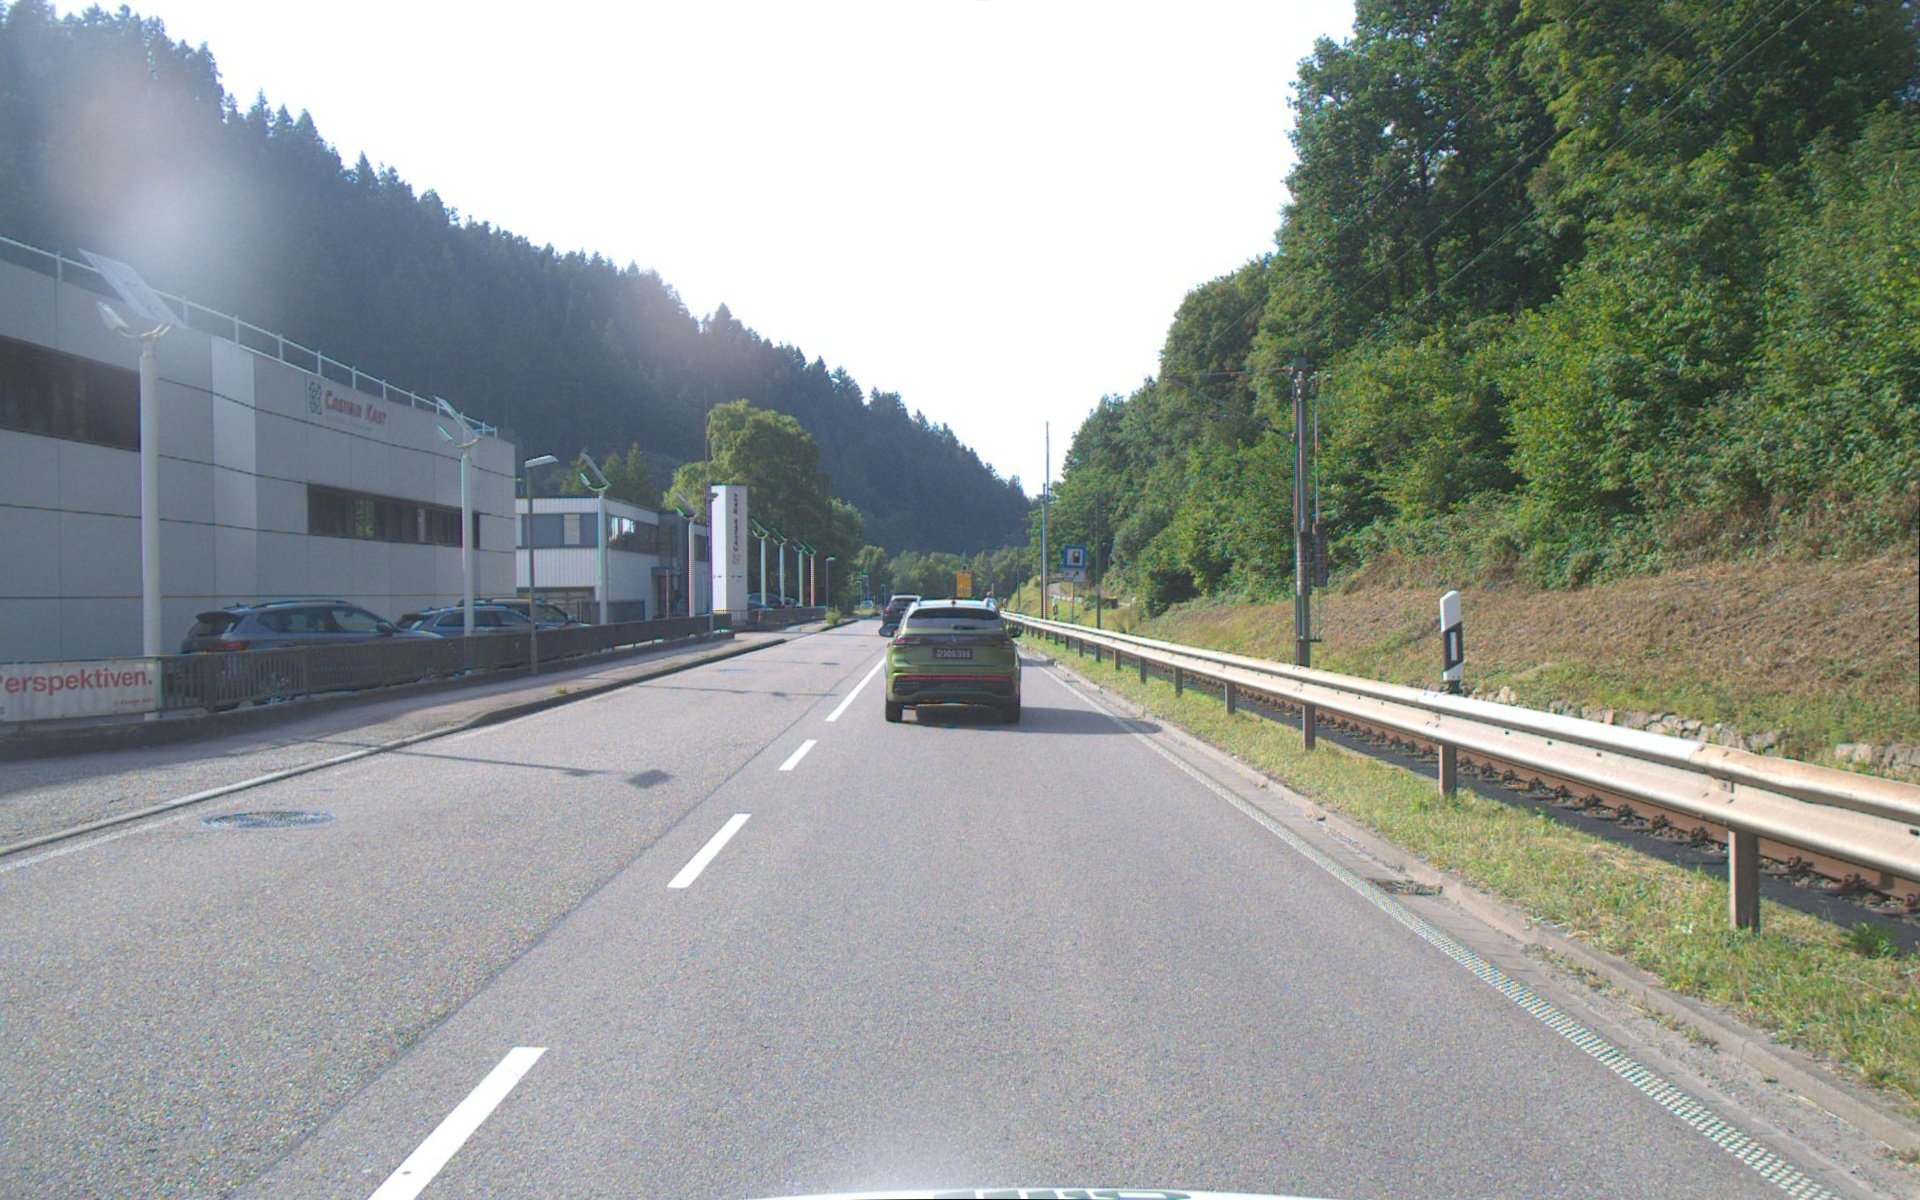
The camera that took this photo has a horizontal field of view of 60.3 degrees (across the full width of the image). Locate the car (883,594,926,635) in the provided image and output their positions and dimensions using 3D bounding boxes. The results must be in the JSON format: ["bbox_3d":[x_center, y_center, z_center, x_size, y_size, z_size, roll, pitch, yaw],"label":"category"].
[{"bbox_3d":[-2.293,0.587,68.440,1.704,1.630,3.999,0,0,-2],"label":"car"}]

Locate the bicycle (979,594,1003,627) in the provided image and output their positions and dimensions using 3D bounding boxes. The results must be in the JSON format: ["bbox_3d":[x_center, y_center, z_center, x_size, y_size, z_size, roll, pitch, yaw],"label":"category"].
[{"bbox_3d":[1.210,0.390,64.397,0.795,1.272,2.121,0,0,-3],"label":"bicycle"}]

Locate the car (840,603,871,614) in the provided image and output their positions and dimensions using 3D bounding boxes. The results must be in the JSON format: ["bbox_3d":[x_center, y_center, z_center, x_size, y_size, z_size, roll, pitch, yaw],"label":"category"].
[{"bbox_3d":[-14.128,1.111,223.661,4.172,1.458,1.557,0,0,0],"label":"car"}]

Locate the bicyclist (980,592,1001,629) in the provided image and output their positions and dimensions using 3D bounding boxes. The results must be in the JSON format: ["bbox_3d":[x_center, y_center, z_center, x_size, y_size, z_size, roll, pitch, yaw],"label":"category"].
[{"bbox_3d":[1.193,0.421,64.679,0.766,1.436,0.674,0,0,-3],"label":"bicyclist"}]

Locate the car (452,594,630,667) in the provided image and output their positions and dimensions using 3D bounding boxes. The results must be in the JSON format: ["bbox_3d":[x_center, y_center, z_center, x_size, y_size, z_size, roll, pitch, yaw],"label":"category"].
[{"bbox_3d":[-10.417,0.725,41.309,1.749,1.738,4.088,0,0,40],"label":"car"}]

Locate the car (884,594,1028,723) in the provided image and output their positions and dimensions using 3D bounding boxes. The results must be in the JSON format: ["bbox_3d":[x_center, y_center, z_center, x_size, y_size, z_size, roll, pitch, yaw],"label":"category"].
[{"bbox_3d":[-0.105,0.695,21.676,1.704,1.534,3.999,0,0,-2],"label":"car"}]

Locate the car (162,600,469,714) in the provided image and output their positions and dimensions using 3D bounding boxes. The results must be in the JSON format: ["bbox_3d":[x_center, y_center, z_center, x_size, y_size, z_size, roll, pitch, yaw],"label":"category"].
[{"bbox_3d":[-10.013,0.817,25.928,1.854,1.619,4.152,0,0,40],"label":"car"}]

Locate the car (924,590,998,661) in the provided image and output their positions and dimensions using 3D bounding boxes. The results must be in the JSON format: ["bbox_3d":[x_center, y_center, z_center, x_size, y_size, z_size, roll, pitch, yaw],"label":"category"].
[{"bbox_3d":[-0.024,0.595,40.766,1.704,1.630,3.999,0,0,-2],"label":"car"}]

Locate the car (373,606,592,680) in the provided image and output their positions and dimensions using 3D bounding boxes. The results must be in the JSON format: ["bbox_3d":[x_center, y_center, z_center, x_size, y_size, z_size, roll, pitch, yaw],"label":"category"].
[{"bbox_3d":[-10.633,0.908,37.062,1.854,1.521,4.464,0,0,40],"label":"car"}]
